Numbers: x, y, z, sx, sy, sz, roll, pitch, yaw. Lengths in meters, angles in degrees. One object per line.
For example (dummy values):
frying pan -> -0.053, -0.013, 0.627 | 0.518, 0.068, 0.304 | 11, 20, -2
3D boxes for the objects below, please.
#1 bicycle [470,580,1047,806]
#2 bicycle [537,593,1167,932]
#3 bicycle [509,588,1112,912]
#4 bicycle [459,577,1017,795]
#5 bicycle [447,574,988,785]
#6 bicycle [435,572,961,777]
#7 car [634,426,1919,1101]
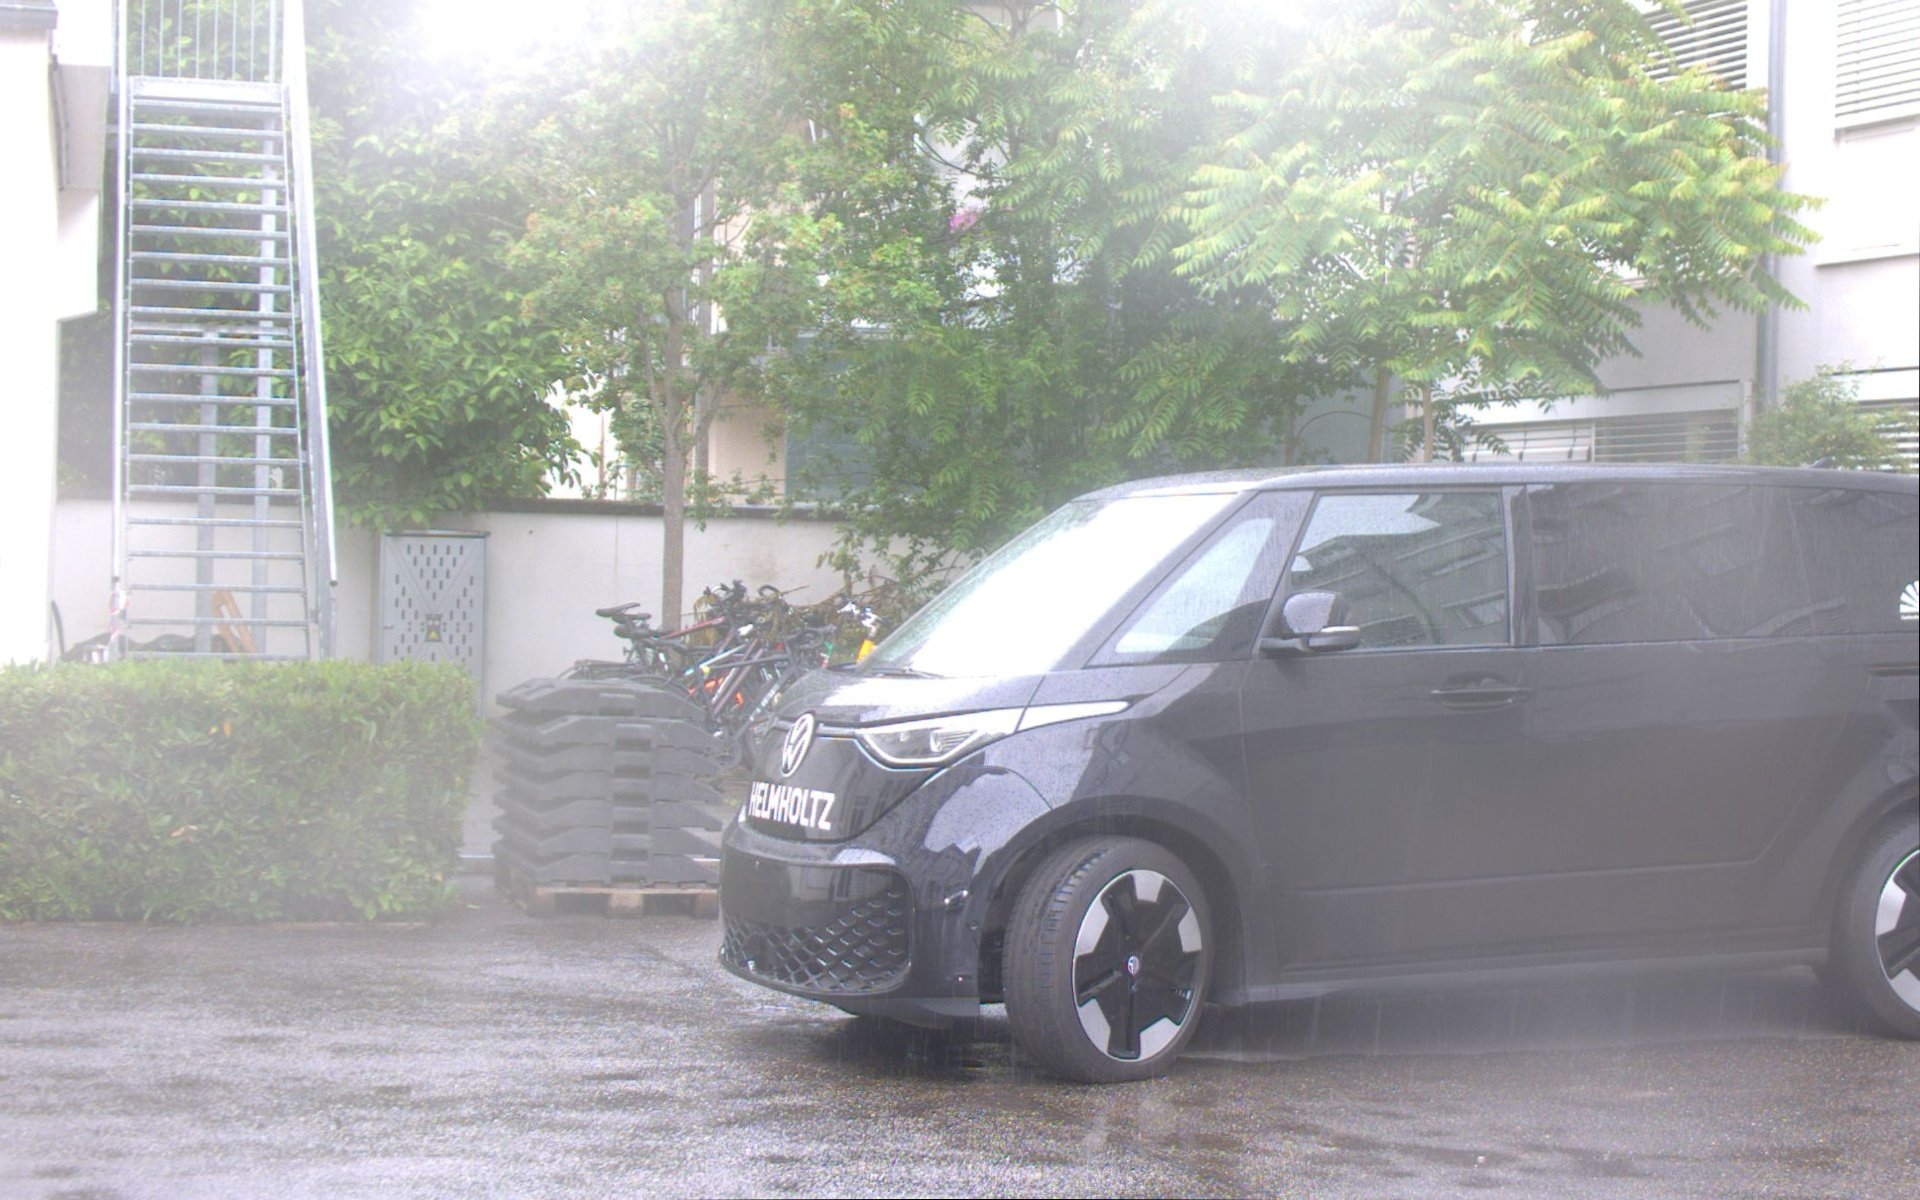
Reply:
bicycle -> -1.134, 0.533, 19.630 | 3.213, 1.237, 0.631 | 1, 0, -17
bicycle -> -0.549, 0.838, 17.999 | 3.213, 1.697, 0.631 | 1, 0, -17
bicycle -> -0.801, 0.811, 18.800 | 3.213, 1.697, 0.631 | 1, 0, -17
bicycle -> -1.299, 0.513, 20.311 | 3.213, 1.237, 0.631 | 1, 0, -17
bicycle -> -1.464, 0.493, 20.963 | 3.213, 1.237, 0.631 | 1, 0, -17
bicycle -> -1.631, 0.474, 21.595 | 3.213, 1.237, 0.631 | 1, 0, -17
car -> 1.393, 0.482, 11.431 | 4.506, 1.891, 2.047 | 1, 0, -22
